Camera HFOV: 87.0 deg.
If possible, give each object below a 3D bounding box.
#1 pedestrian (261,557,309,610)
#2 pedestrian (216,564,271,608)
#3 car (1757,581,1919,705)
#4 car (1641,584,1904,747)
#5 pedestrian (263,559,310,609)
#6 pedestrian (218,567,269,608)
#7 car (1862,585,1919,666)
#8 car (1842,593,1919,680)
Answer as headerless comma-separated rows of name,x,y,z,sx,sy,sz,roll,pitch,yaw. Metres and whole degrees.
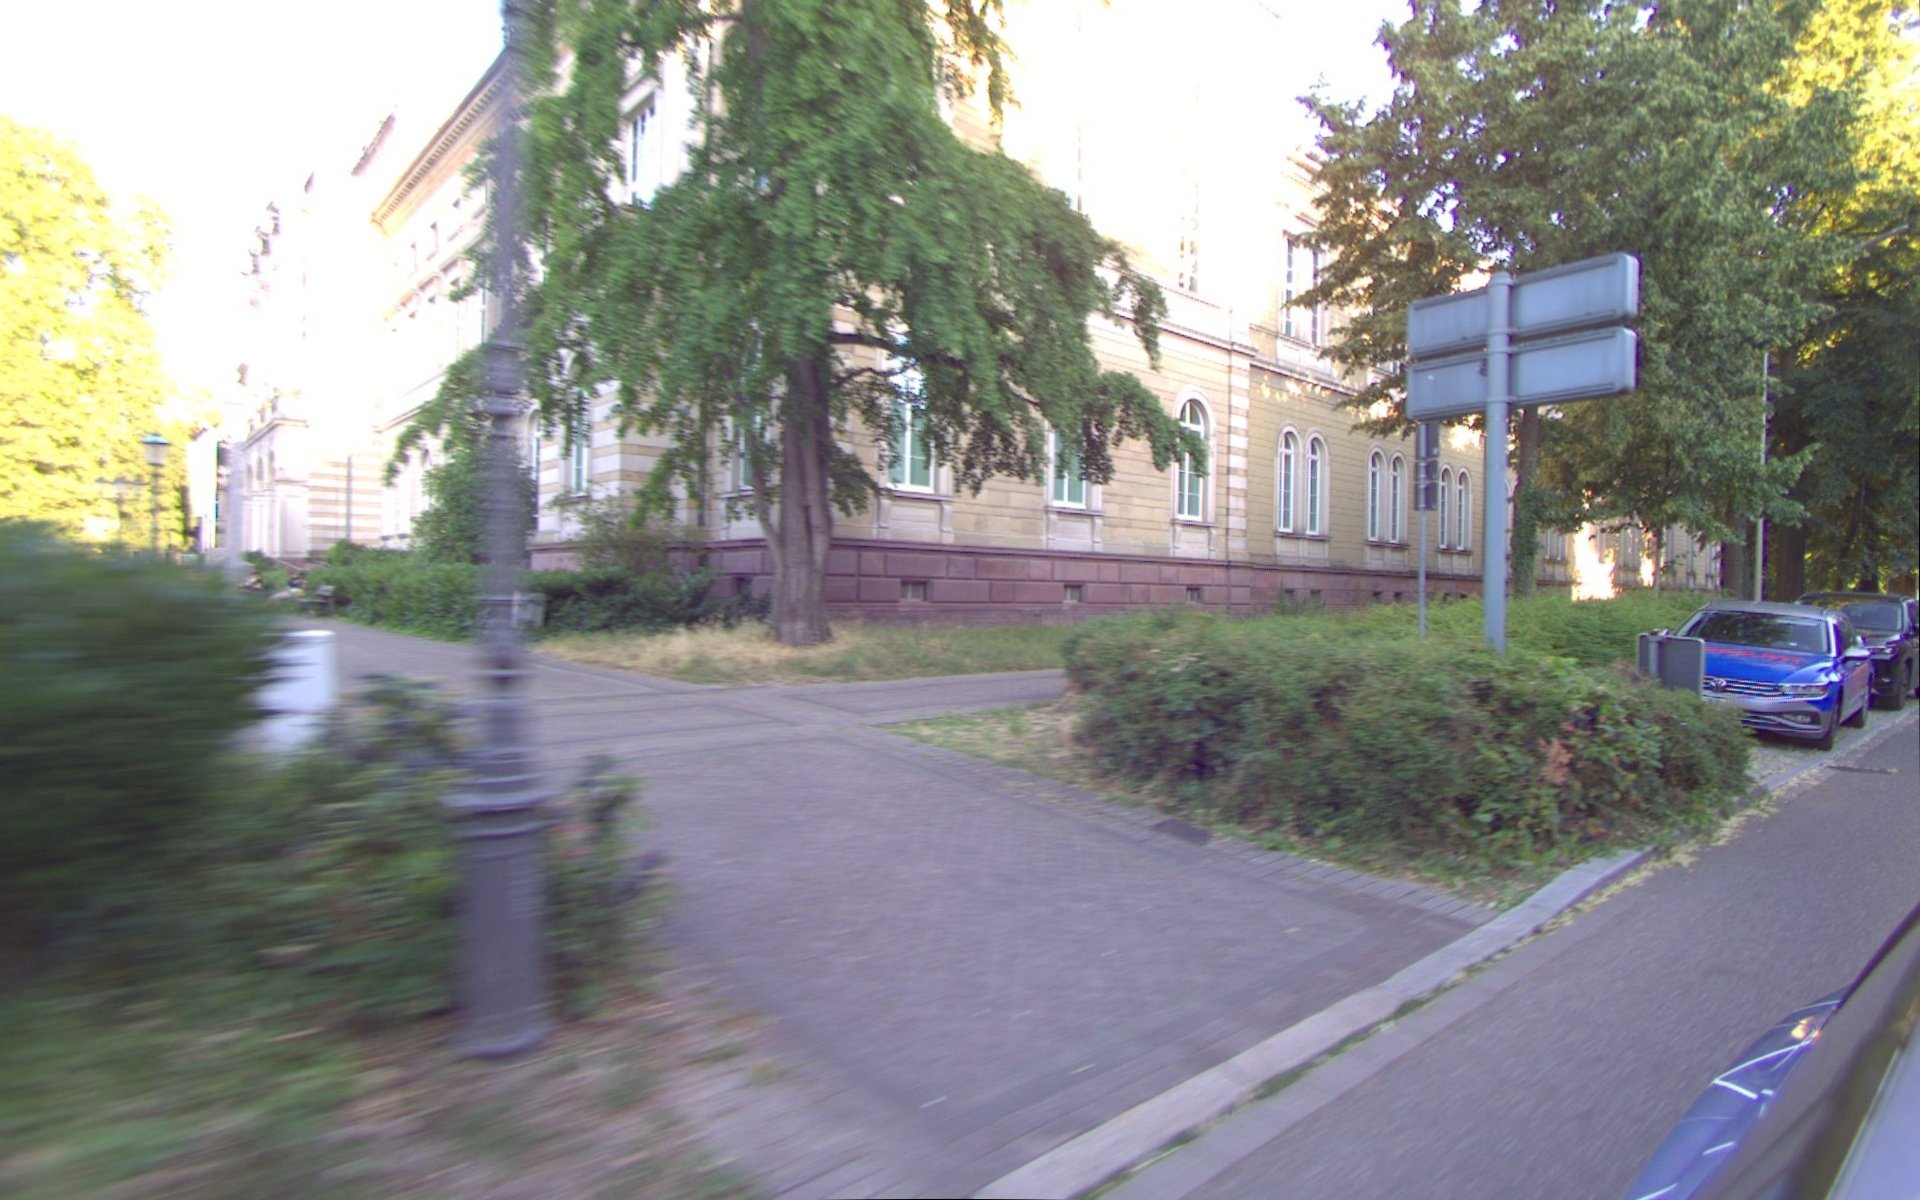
pedestrian,-18.720,-0.457,28.055,1.026,1.414,0.695,0,1,-41
pedestrian,-25.869,-0.506,36.544,1.540,1.575,0.801,0,1,-41
car,14.389,0.559,16.013,4.627,1.672,1.728,-1,2,-38
car,9.944,0.638,12.247,4.532,1.506,1.727,0,5,-43
pedestrian,-19.186,-0.454,28.821,1.026,1.414,0.695,0,1,-41
pedestrian,-25.237,-0.429,35.651,1.427,1.414,0.695,0,1,-41
car,22.325,0.603,23.227,4.342,1.671,1.811,1,5,-42
car,18.839,0.686,19.896,4.117,1.557,1.727,1,1,-42
